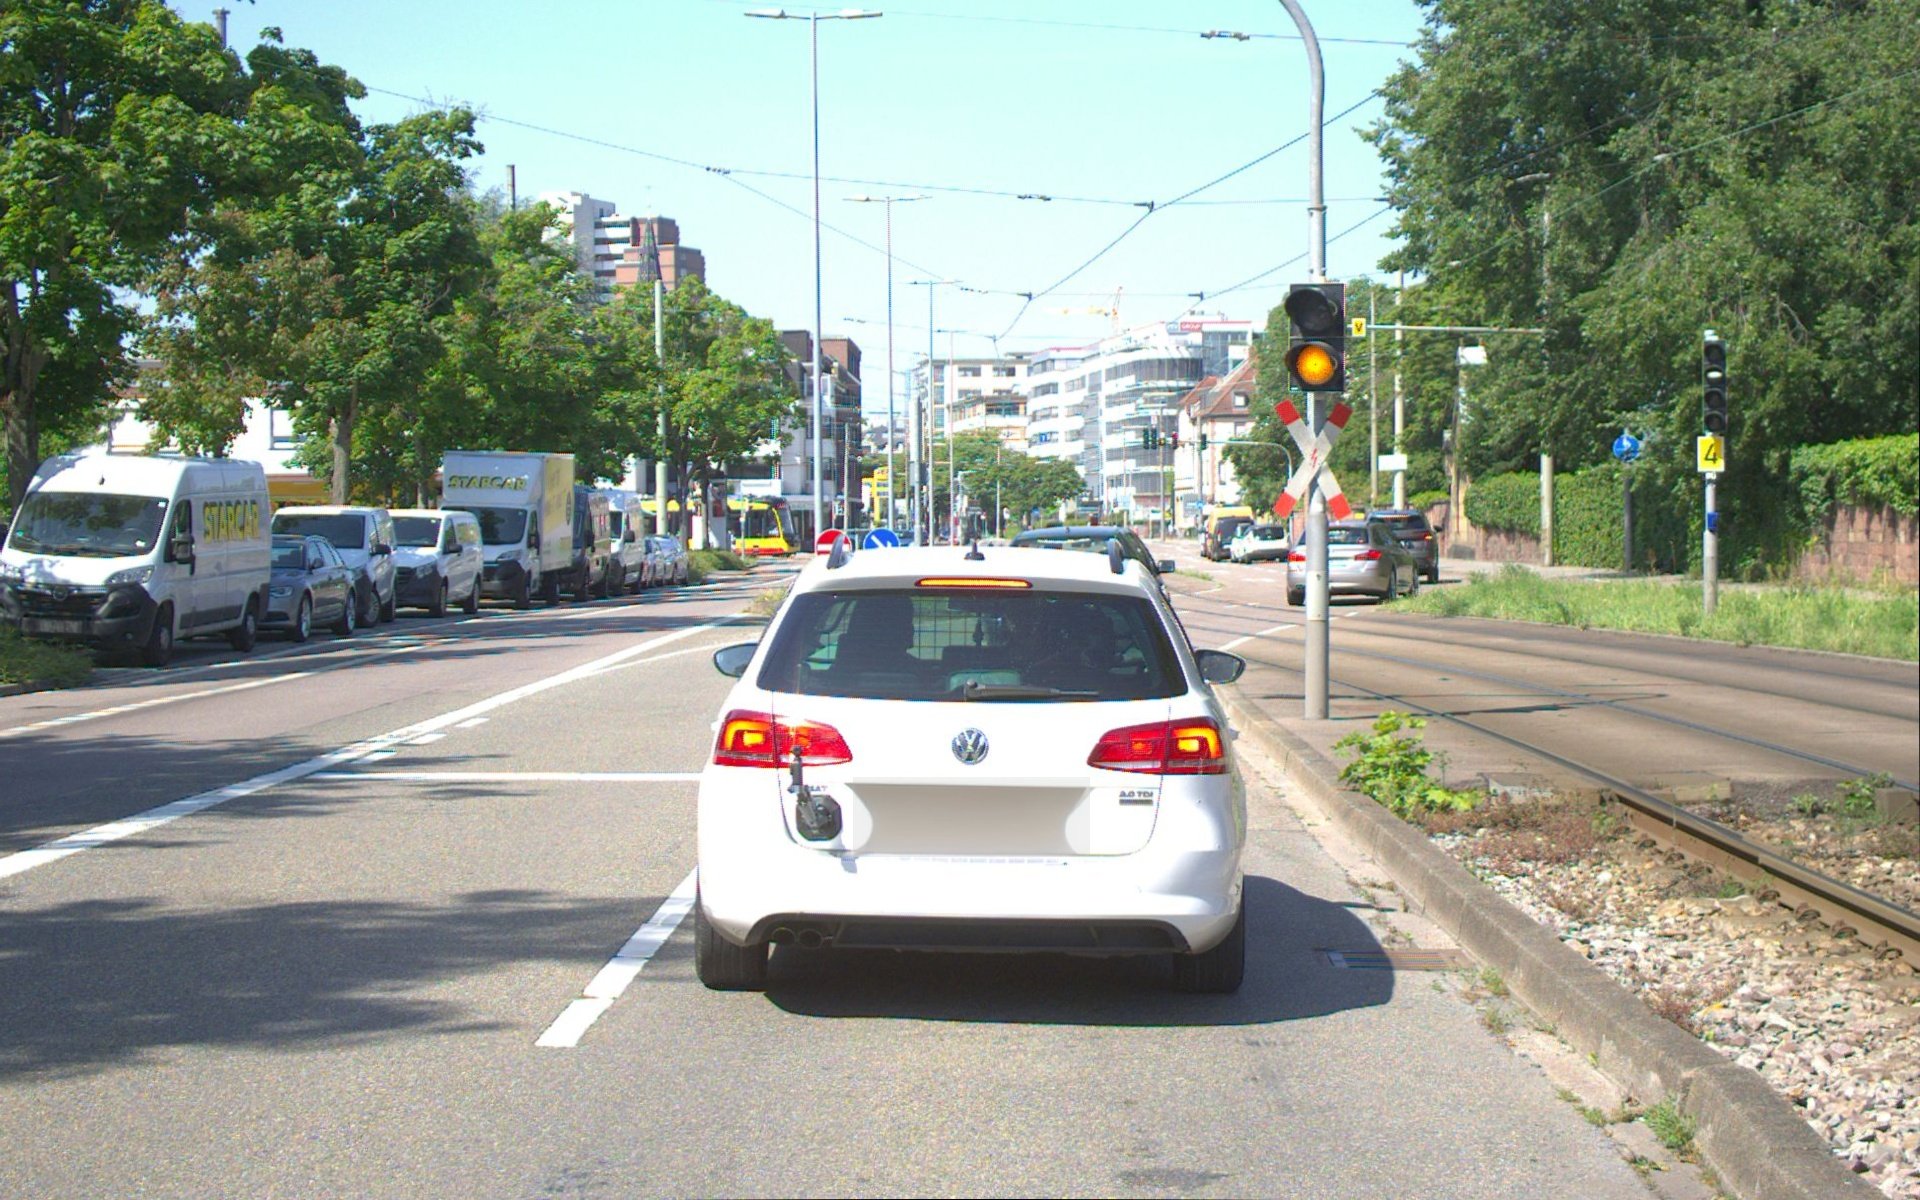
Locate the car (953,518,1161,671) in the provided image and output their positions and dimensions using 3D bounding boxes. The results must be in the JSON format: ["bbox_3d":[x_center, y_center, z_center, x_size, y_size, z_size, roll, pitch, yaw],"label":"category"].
[{"bbox_3d":[1.015,-0.099,34.095,1.746,1.383,3.912,1,1,6],"label":"car"}]

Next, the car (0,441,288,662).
[{"bbox_3d":[-10.240,-0.654,42.838,2.059,2.492,6.307,2,2,4],"label":"car"}]

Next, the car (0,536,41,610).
[{"bbox_3d":[-20.207,-0.508,67.148,3.987,1.397,1.771,-1,1,4],"label":"car"}]

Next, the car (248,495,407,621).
[{"bbox_3d":[-10.200,-0.714,55.778,1.843,1.930,5.195,-1,1,-3],"label":"car"}]

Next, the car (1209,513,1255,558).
[{"bbox_3d":[11.419,-2.706,144.475,1.691,1.806,3.454,2,1,1],"label":"car"}]

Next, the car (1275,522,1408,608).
[{"bbox_3d":[6.785,-0.648,60.749,1.862,1.412,4.323,2,1,12],"label":"car"}]

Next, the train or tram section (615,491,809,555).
[{"bbox_3d":[-13.645,-4.238,188.446,11.257,3.241,2.305,2,1,30],"label":"train or tram section"}]

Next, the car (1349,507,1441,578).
[{"bbox_3d":[9.766,-1.310,77.465,1.861,1.507,3.912,2,1,5],"label":"car"}]

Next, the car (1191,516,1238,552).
[{"bbox_3d":[11.988,-3.106,162.269,1.993,1.590,4.000,2,1,1],"label":"car"}]

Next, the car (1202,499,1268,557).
[{"bbox_3d":[12.269,-3.204,153.783,2.463,2.490,5.910,2,1,1],"label":"car"}]

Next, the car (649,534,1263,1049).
[{"bbox_3d":[-0.010,0.526,12.048,1.768,1.441,3.913,2,1,0],"label":"car"}]

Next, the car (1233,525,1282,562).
[{"bbox_3d":[11.276,-2.151,130.554,1.581,1.341,3.454,2,1,1],"label":"car"}]

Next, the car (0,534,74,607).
[{"bbox_3d":[-20.209,-0.587,69.650,3.987,1.439,1.771,-1,1,4],"label":"car"}]

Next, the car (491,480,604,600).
[{"bbox_3d":[-9.451,-1.395,79.083,1.843,2.659,5.003,-1,1,2],"label":"car"}]

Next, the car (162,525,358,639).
[{"bbox_3d":[-9.904,-0.294,48.907,1.843,1.511,4.197,-1,1,1],"label":"car"}]

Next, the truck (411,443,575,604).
[{"bbox_3d":[-9.533,-1.581,70.779,2.356,3.112,6.892,-1,1,0],"label":"truck"}]

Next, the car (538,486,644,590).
[{"bbox_3d":[-9.212,-1.572,86.156,1.843,2.486,5.856,-1,1,2],"label":"car"}]

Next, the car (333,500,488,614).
[{"bbox_3d":[-9.908,-0.813,62.339,1.843,1.954,5.134,-1,1,2],"label":"car"}]

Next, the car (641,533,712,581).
[{"bbox_3d":[-8.787,-1.347,106.873,1.780,1.428,4.038,-1,1,1],"label":"car"}]
